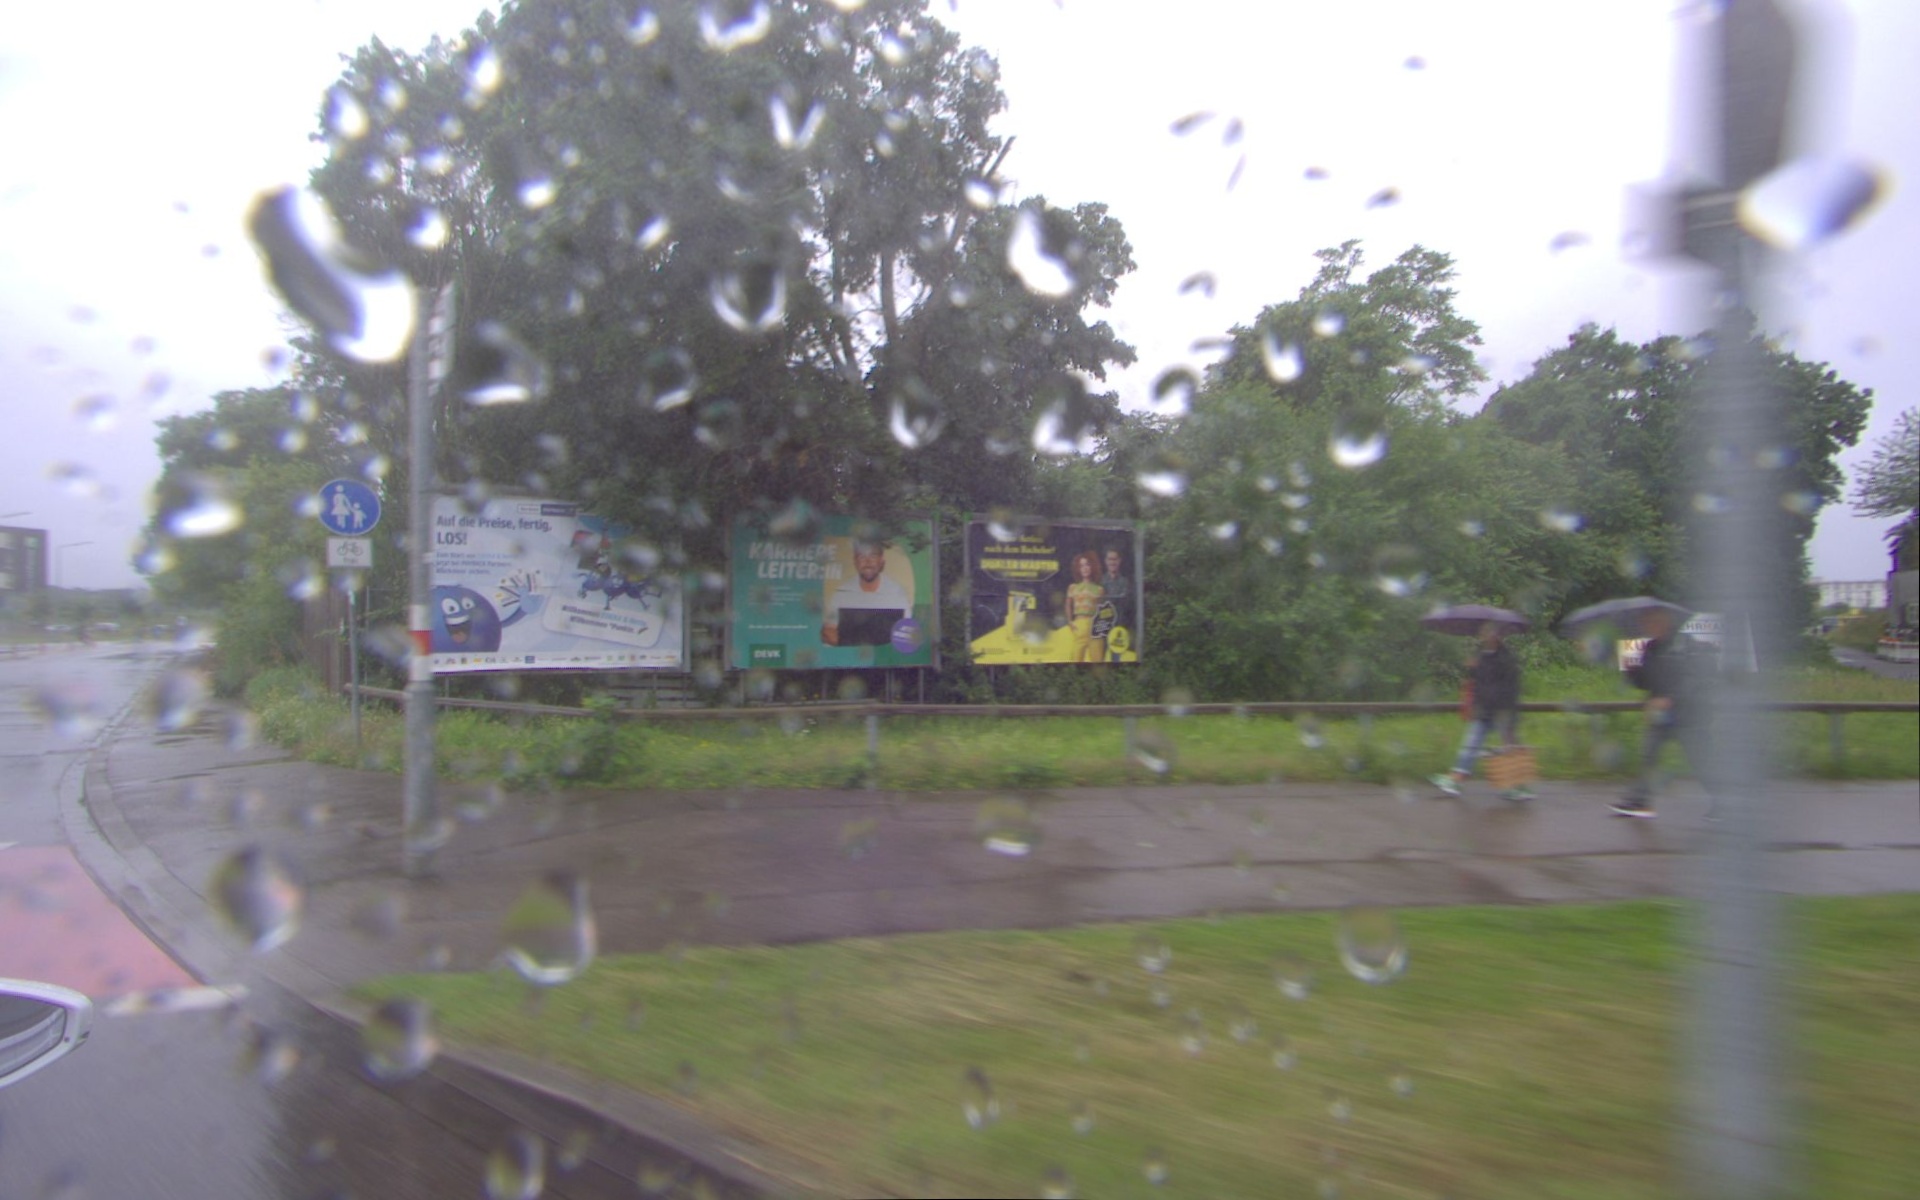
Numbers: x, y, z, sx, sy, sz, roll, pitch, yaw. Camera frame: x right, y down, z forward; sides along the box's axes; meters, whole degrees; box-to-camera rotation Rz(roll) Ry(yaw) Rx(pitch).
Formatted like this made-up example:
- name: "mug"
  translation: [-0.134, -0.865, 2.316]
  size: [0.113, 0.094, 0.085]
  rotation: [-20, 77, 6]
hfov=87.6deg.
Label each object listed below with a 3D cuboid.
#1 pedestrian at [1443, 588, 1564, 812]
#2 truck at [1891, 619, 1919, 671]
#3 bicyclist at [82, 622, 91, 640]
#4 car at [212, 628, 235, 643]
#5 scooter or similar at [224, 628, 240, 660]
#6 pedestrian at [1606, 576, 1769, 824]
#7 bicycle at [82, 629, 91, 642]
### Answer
- name: "pedestrian"
  translation: [4.688, 0.847, 8.709]
  size: [0.795, 1.806, 0.922]
  rotation: [-2, -3, 25]
- name: "truck"
  translation: [48.072, 2.182, 49.028]
  size: [2.317, 2.487, 10.714]
  rotation: [-3, -4, 36]
- name: "bicyclist"
  translation: [-69.003, 2.462, 79.123]
  size: [0.440, 1.421, 0.546]
  rotation: [1, -3, -36]
- name: "car"
  translation: [-88.500, 4.277, 120.299]
  size: [1.973, 1.794, 3.976]
  rotation: [1, -2, -33]
- name: "scooter or similar"
  translation: [-29.137, 1.763, 40.087]
  size: [0.486, 1.250, 1.361]
  rotation: [1, -2, -35]
- name: "pedestrian"
  translation: [5.696, 0.767, 7.909]
  size: [0.795, 1.806, 0.922]
  rotation: [-2, -3, 25]
- name: "bicycle"
  translation: [-68.967, 2.791, 79.082]
  size: [0.423, 1.032, 1.600]
  rotation: [1, -2, -38]
